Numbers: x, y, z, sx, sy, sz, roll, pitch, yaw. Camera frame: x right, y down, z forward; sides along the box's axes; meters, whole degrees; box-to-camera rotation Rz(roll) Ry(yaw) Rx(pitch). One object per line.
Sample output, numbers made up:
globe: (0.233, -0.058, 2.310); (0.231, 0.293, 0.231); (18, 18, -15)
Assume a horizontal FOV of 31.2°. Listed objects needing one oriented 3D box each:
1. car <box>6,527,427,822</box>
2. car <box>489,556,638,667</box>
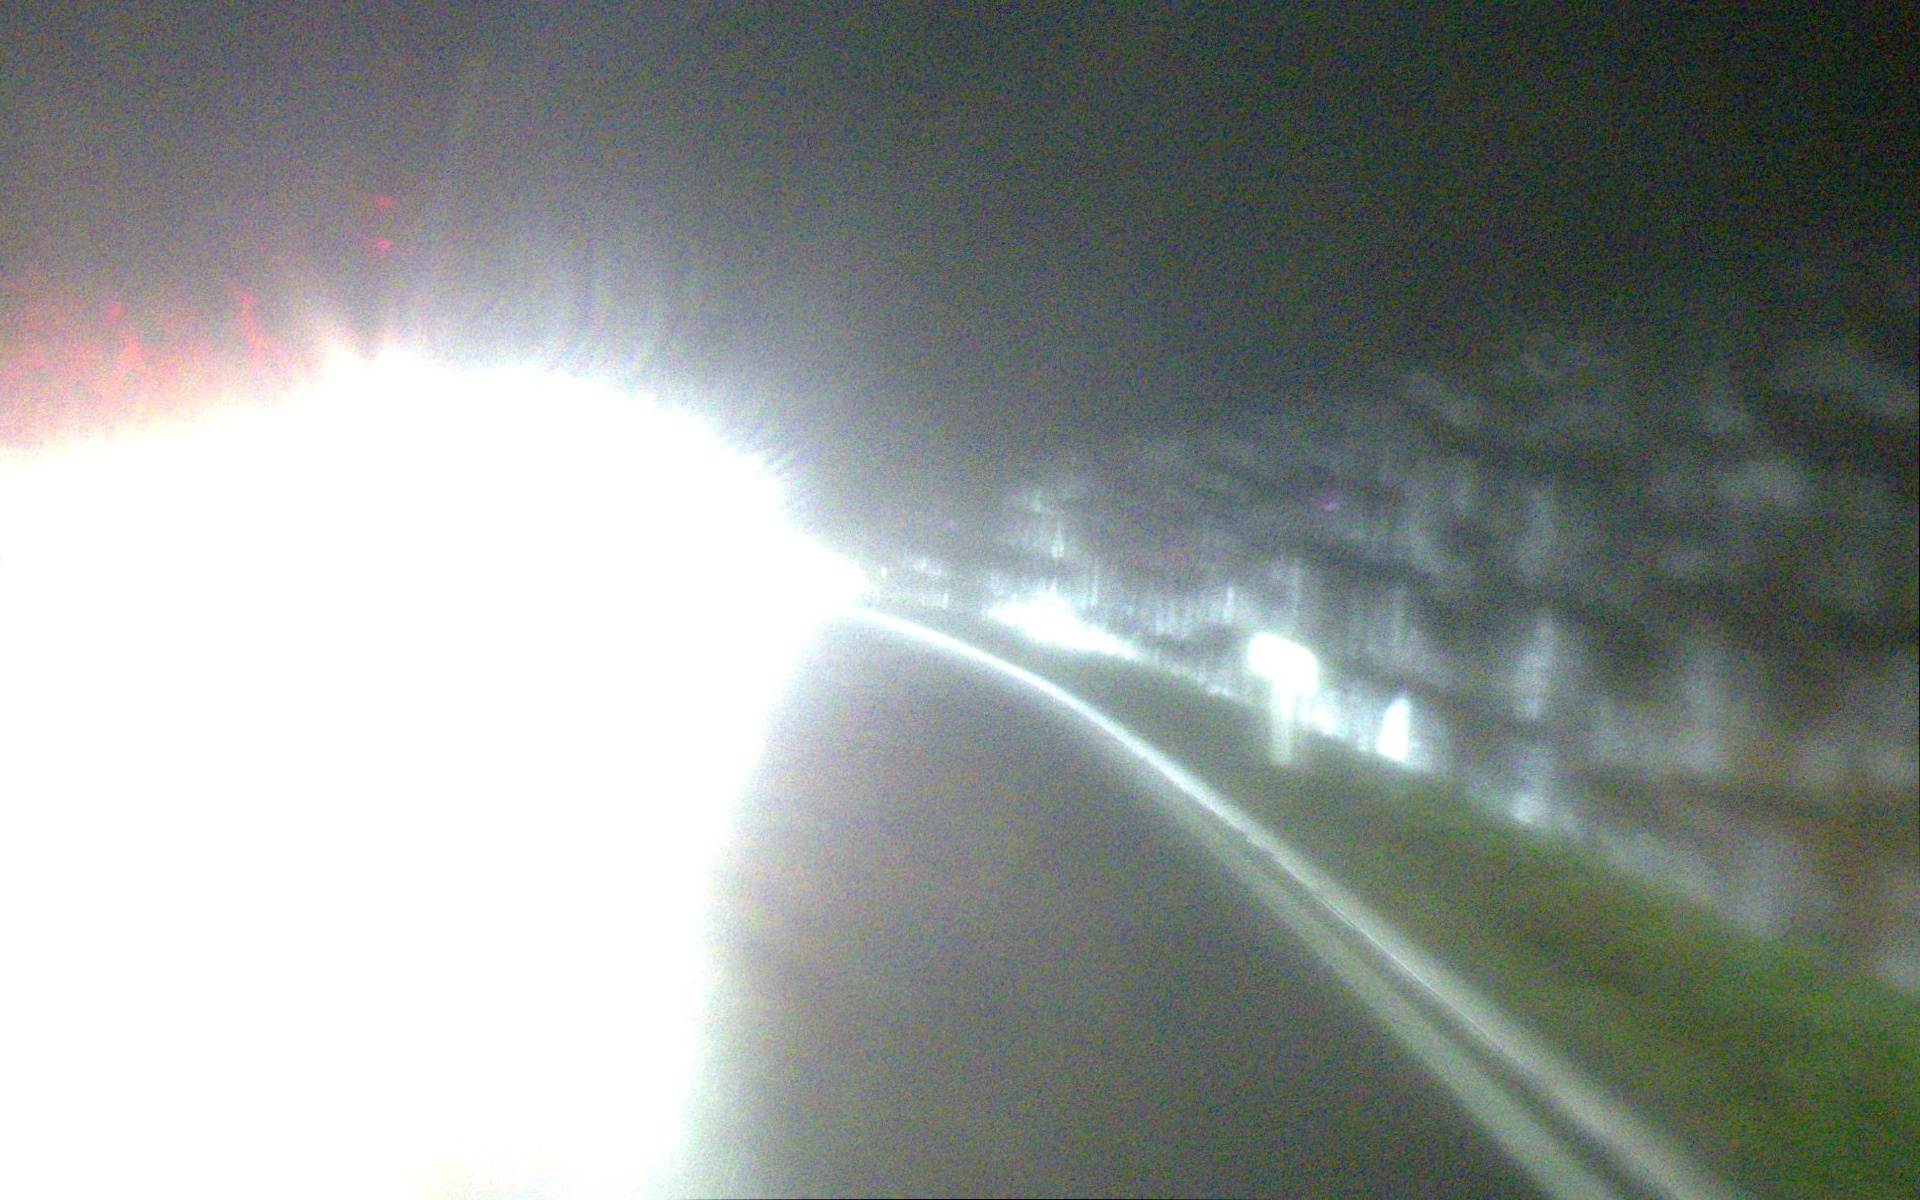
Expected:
car: (-4.161, 0.364, 19.776); (1.636, 1.514, 3.770); (-1, 1, -1)
car: (-5.470, 0.129, 47.766); (1.785, 1.474, 3.680); (1, 1, -3)
